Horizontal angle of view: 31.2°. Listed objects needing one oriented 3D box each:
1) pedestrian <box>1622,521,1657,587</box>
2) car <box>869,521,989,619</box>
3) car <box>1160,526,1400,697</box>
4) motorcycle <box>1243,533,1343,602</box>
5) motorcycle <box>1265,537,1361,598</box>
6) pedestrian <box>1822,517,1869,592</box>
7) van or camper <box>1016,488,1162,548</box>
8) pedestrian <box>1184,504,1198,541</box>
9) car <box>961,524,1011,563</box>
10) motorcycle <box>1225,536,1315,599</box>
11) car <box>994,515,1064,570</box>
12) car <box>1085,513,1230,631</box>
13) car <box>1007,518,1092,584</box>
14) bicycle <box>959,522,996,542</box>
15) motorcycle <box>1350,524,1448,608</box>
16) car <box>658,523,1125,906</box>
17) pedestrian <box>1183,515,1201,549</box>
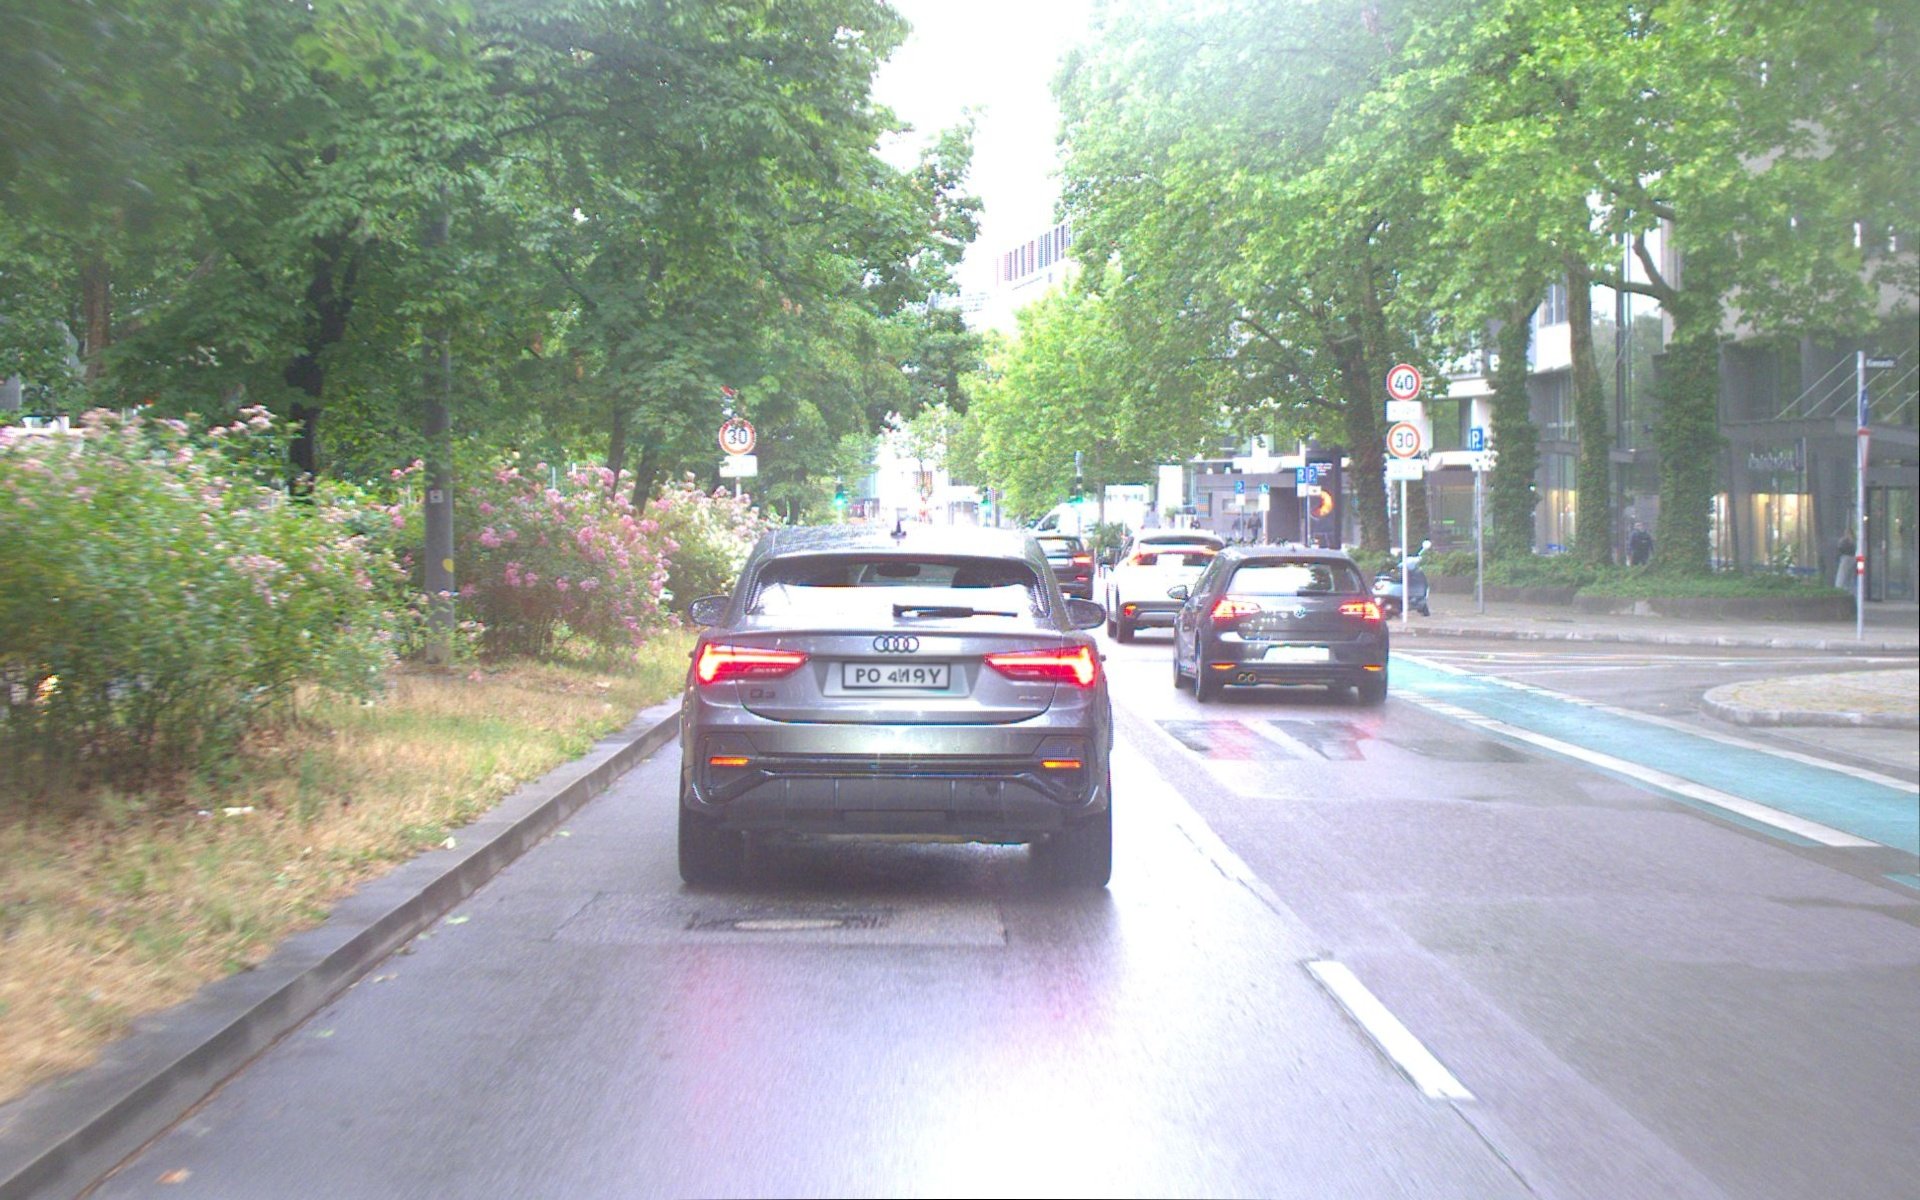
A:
[{"bbox_3d":[18.746,-1.278,94.834,0.825,1.797,0.729,0,1,2],"label":"pedestrian"},{"bbox_3d":[-0.512,-0.507,55.590,1.849,1.518,4.039,0,1,-1],"label":"car"},{"bbox_3d":[2.991,0.062,32.890,1.849,1.518,4.039,0,1,-1],"label":"car"},{"bbox_3d":[7.293,-0.716,75.338,2.053,1.423,0.729,-2,3,-22],"label":"motorcycle"},{"bbox_3d":[7.500,-0.690,72.971,2.054,1.208,0.685,-3,1,-36],"label":"motorcycle"},{"bbox_3d":[20.210,-1.052,78.441,0.728,1.687,0.826,1,2,42],"label":"pedestrian"},{"bbox_3d":[5.610,-3.559,149.792,6.074,2.549,2.102,1,1,26],"label":"van or camper"},{"bbox_3d":[11.284,-3.801,168.098,0.553,1.799,0.762,1,0,-4],"label":"pedestrian"},{"bbox_3d":[1.005,-2.233,135.145,1.849,1.518,4.039,0,1,-1],"label":"car"},{"bbox_3d":[7.192,-0.762,79.733,1.955,1.369,0.729,-2,3,-22],"label":"motorcycle"},{"bbox_3d":[1.969,-1.667,99.003,1.849,1.518,4.039,0,1,-1],"label":"car"},{"bbox_3d":[2.873,-0.437,50.727,1.849,1.663,4.039,0,1,-1],"label":"car"},{"bbox_3d":[2.093,-1.183,81.409,1.849,1.518,4.039,0,1,-1],"label":"car"},{"bbox_3d":[1.174,-4.459,226.201,2.337,1.308,0.710,0,1,-8],"label":"bicycle"},{"bbox_3d":[7.612,-0.594,59.582,0.684,1.362,1.941,-3,1,40],"label":"motorcycle"},{"bbox_3d":[-0.328,0.415,15.722,1.849,1.518,4.039,0,1,-2],"label":"car"},{"bbox_3d":[11.770,-3.449,174.753,0.805,1.690,1.187,1,1,0],"label":"pedestrian"}]
